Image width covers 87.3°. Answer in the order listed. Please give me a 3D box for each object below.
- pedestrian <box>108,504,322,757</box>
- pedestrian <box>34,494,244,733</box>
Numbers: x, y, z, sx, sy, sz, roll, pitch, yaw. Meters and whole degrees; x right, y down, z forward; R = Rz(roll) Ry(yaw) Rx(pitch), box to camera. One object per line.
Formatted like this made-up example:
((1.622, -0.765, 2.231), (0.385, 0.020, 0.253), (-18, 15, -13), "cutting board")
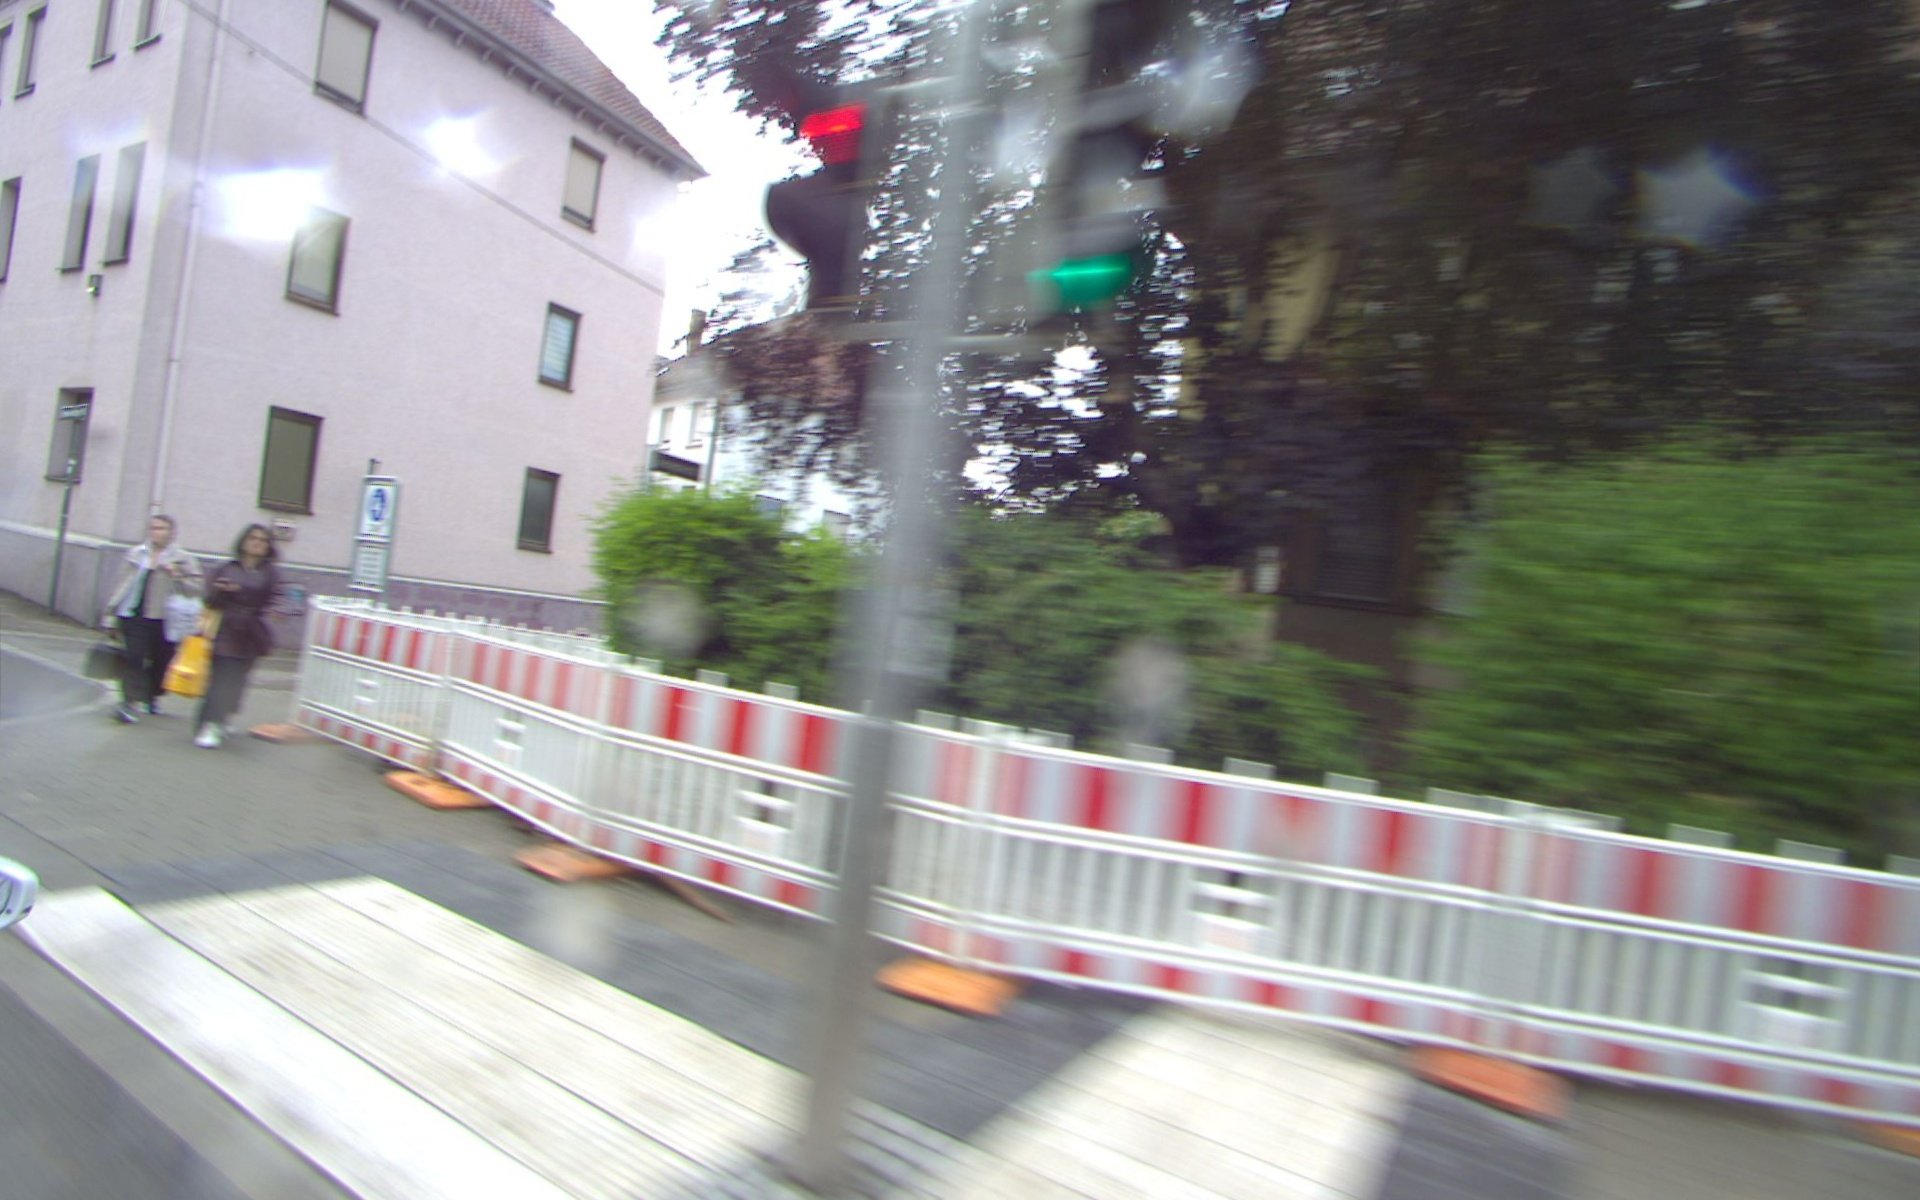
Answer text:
((-5.201, 0.209, 7.015), (1.036, 1.577, 0.873), (5, -4, 45), "pedestrian")
((-6.351, 0.096, 7.784), (1.203, 1.659, 0.785), (6, -3, 36), "pedestrian")
